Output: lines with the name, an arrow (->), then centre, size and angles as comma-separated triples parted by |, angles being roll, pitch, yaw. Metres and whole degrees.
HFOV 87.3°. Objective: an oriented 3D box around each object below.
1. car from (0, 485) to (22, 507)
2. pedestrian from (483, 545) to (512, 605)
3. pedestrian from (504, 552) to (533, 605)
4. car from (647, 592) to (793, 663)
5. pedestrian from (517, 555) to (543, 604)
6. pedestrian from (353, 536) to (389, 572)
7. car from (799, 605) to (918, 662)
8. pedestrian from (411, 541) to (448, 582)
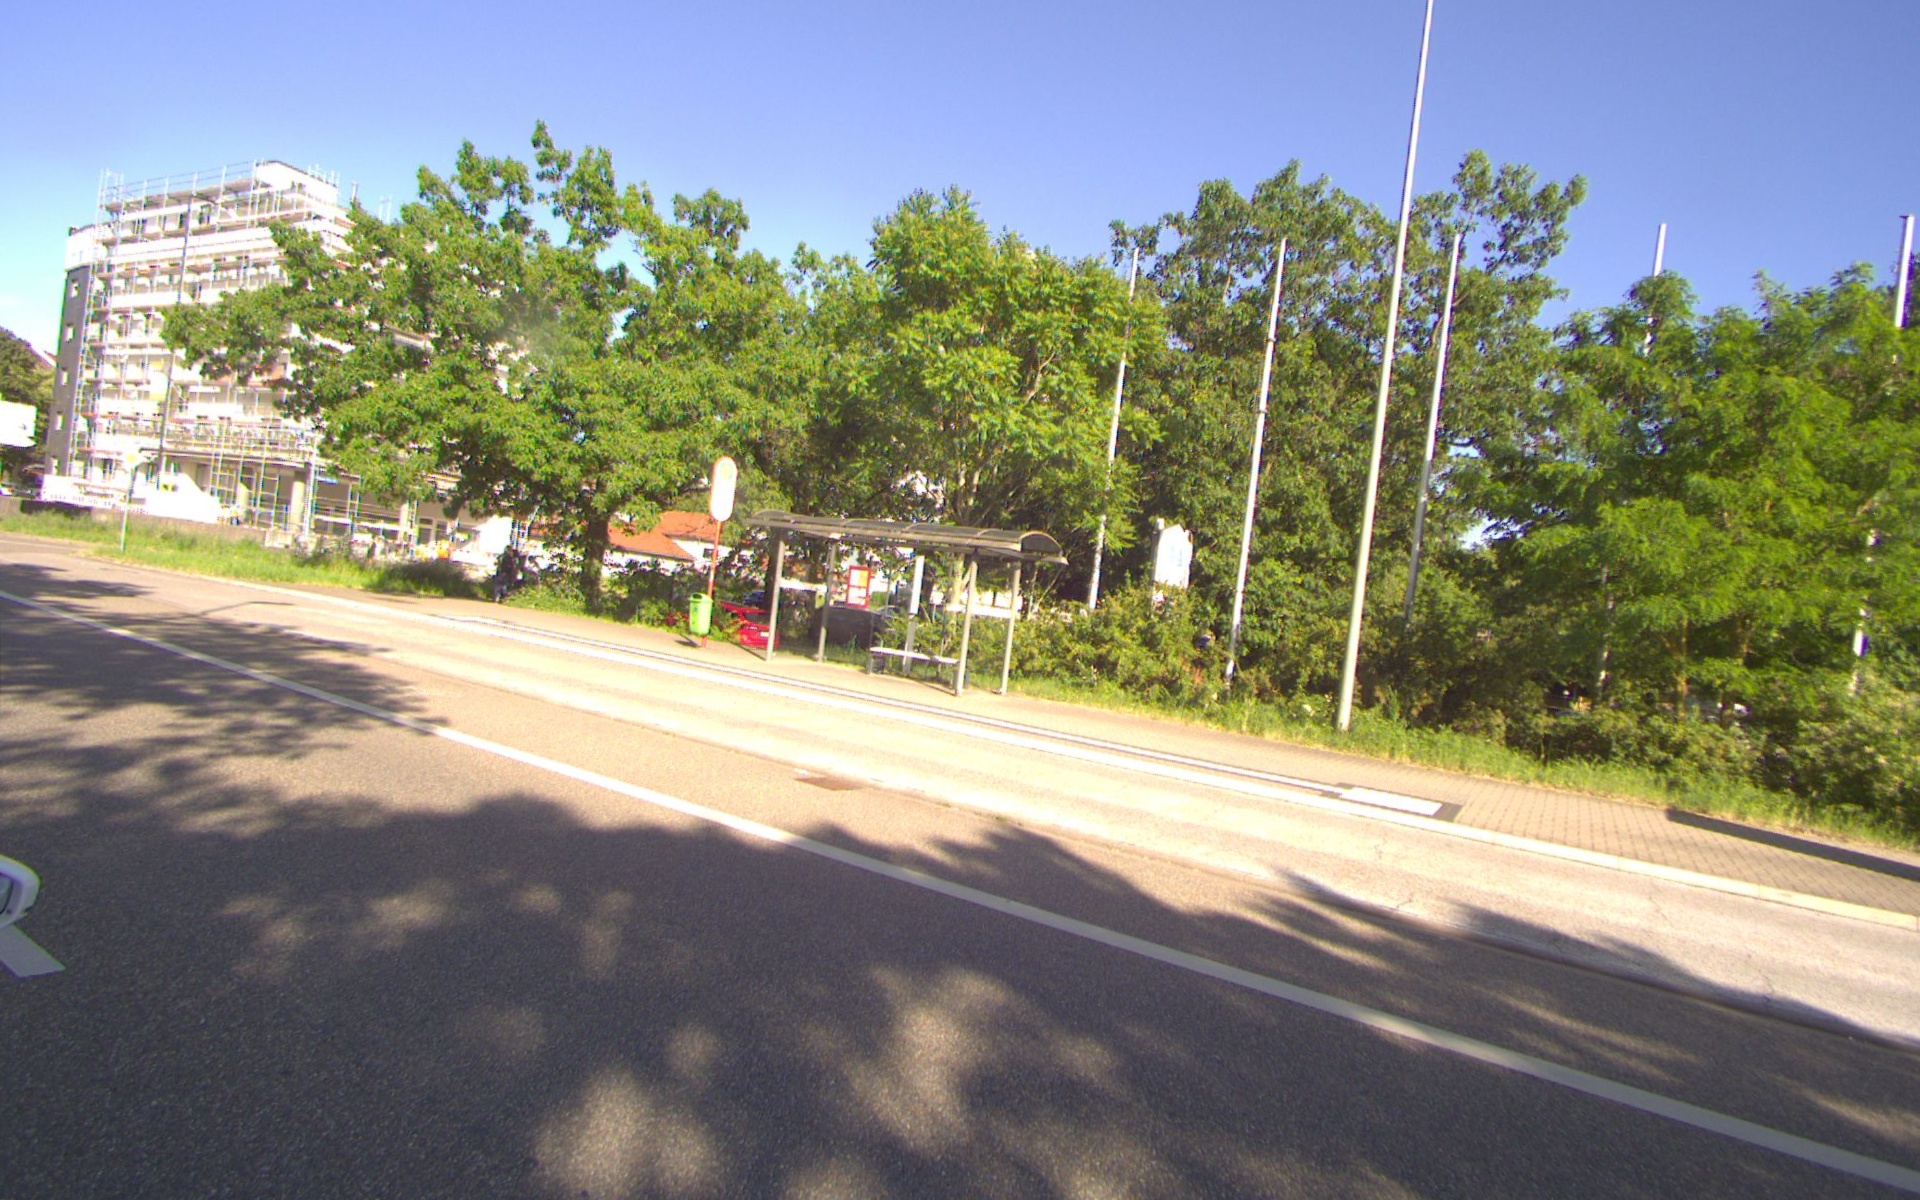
car -> -66.545, -7.275, 69.994 | 1.521, 1.330, 3.250 | 7, 0, -40
pedestrian -> -13.034, -0.707, 28.361 | 0.517, 1.632, 0.587 | 7, 1, -32
pedestrian -> -12.712, -0.623, 28.965 | 0.517, 1.465, 0.587 | 7, 1, -32
car -> -6.870, 0.792, 28.746 | 3.680, 1.504, 1.755 | 7, 0, 28
pedestrian -> -13.398, -0.635, 31.328 | 0.517, 1.465, 0.587 | 7, 1, -32
pedestrian -> -26.972, -2.084, 46.085 | 0.947, 1.465, 0.895 | 7, 0, 5
car -> -3.586, 1.207, 35.980 | 3.674, 1.504, 1.914 | 7, 0, 13
pedestrian -> -23.662, -1.702, 44.847 | 0.969, 1.674, 0.891 | 7, 0, 4
